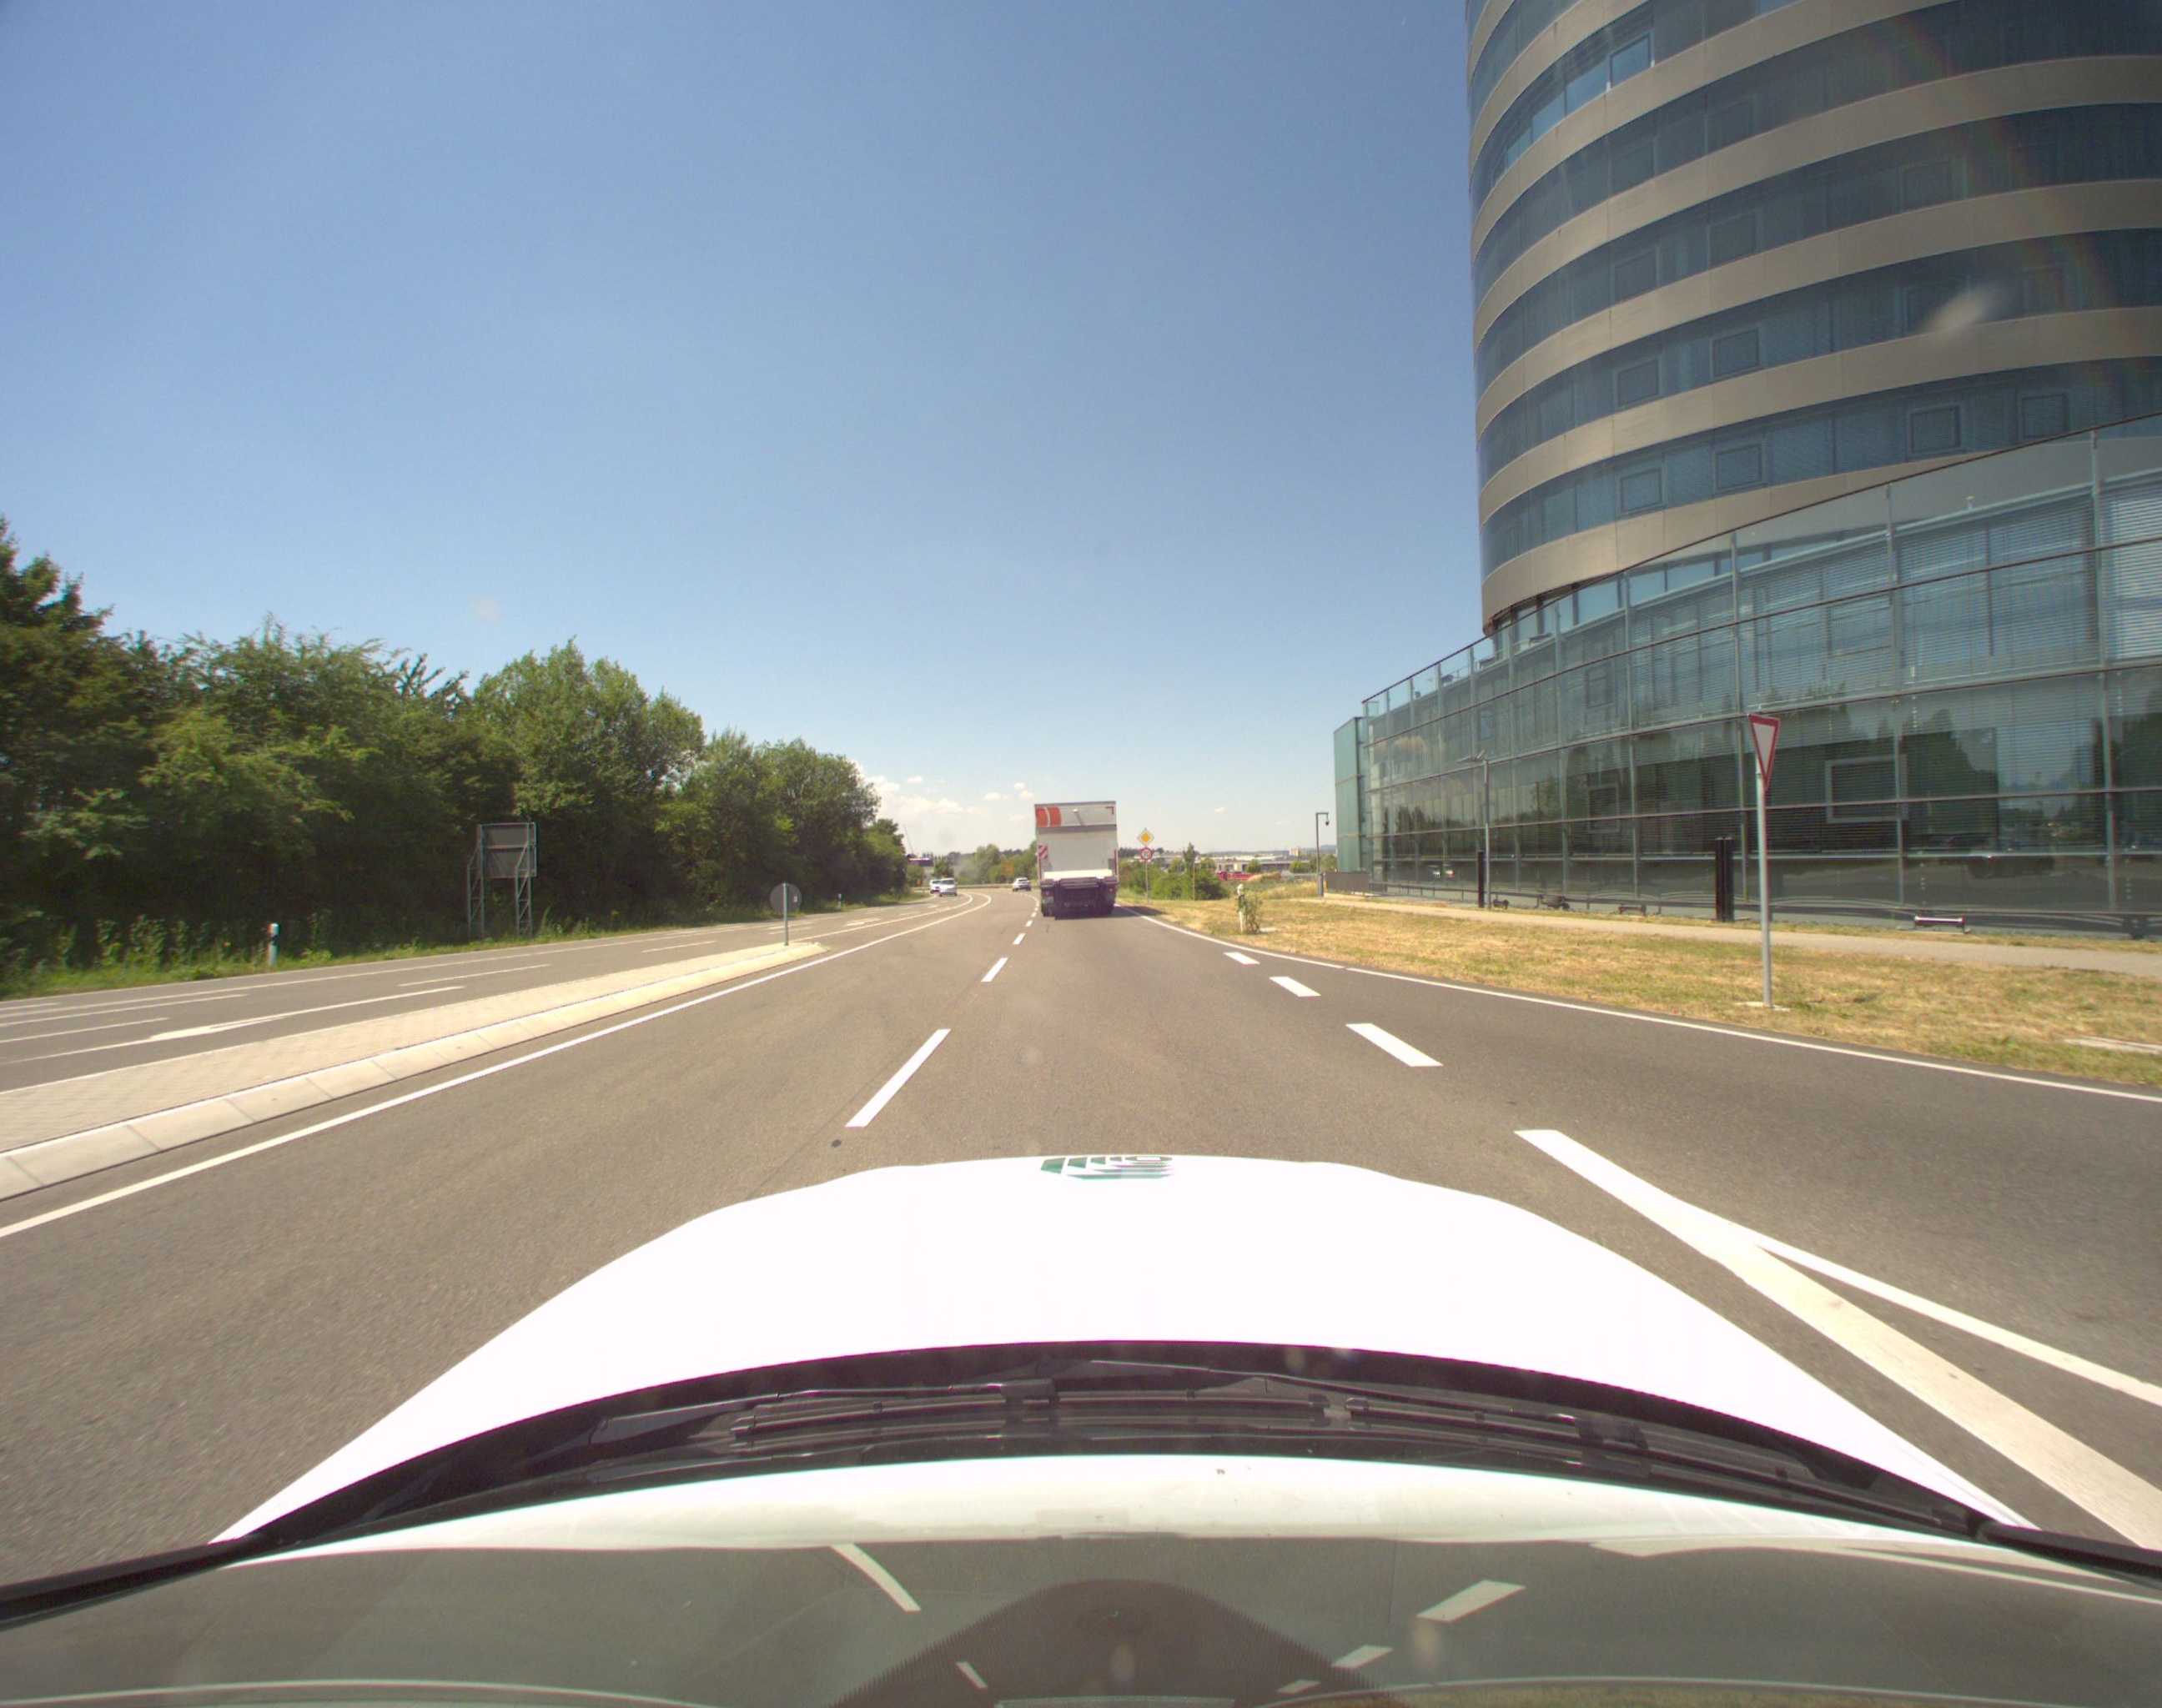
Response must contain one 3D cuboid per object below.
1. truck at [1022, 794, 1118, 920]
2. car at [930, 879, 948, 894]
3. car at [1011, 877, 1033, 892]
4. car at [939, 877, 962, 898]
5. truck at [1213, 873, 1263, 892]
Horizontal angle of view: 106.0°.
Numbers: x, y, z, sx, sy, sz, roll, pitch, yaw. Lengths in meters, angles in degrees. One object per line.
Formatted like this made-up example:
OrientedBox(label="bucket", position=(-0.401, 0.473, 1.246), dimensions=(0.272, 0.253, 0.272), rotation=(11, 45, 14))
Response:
OrientedBox(label="truck", position=(-0.180, 0.193, 29.458), dimensions=(2.793, 3.711, 9.110), rotation=(-2, -1, 2))
OrientedBox(label="car", position=(-20.659, 4.703, 118.484), dimensions=(2.080, 2.014, 5.776), rotation=(-2, -2, -15))
OrientedBox(label="car", position=(-6.780, 3.536, 93.197), dimensions=(1.946, 1.665, 3.980), rotation=(0, -3, -14))
OrientedBox(label="car", position=(-14.040, 3.562, 87.567), dimensions=(1.970, 2.014, 4.833), rotation=(0, 0, -4))
OrientedBox(label="truck", position=(31.430, 5.679, 162.722), dimensions=(9.302, 3.684, 3.149), rotation=(-1, -1, 26))
